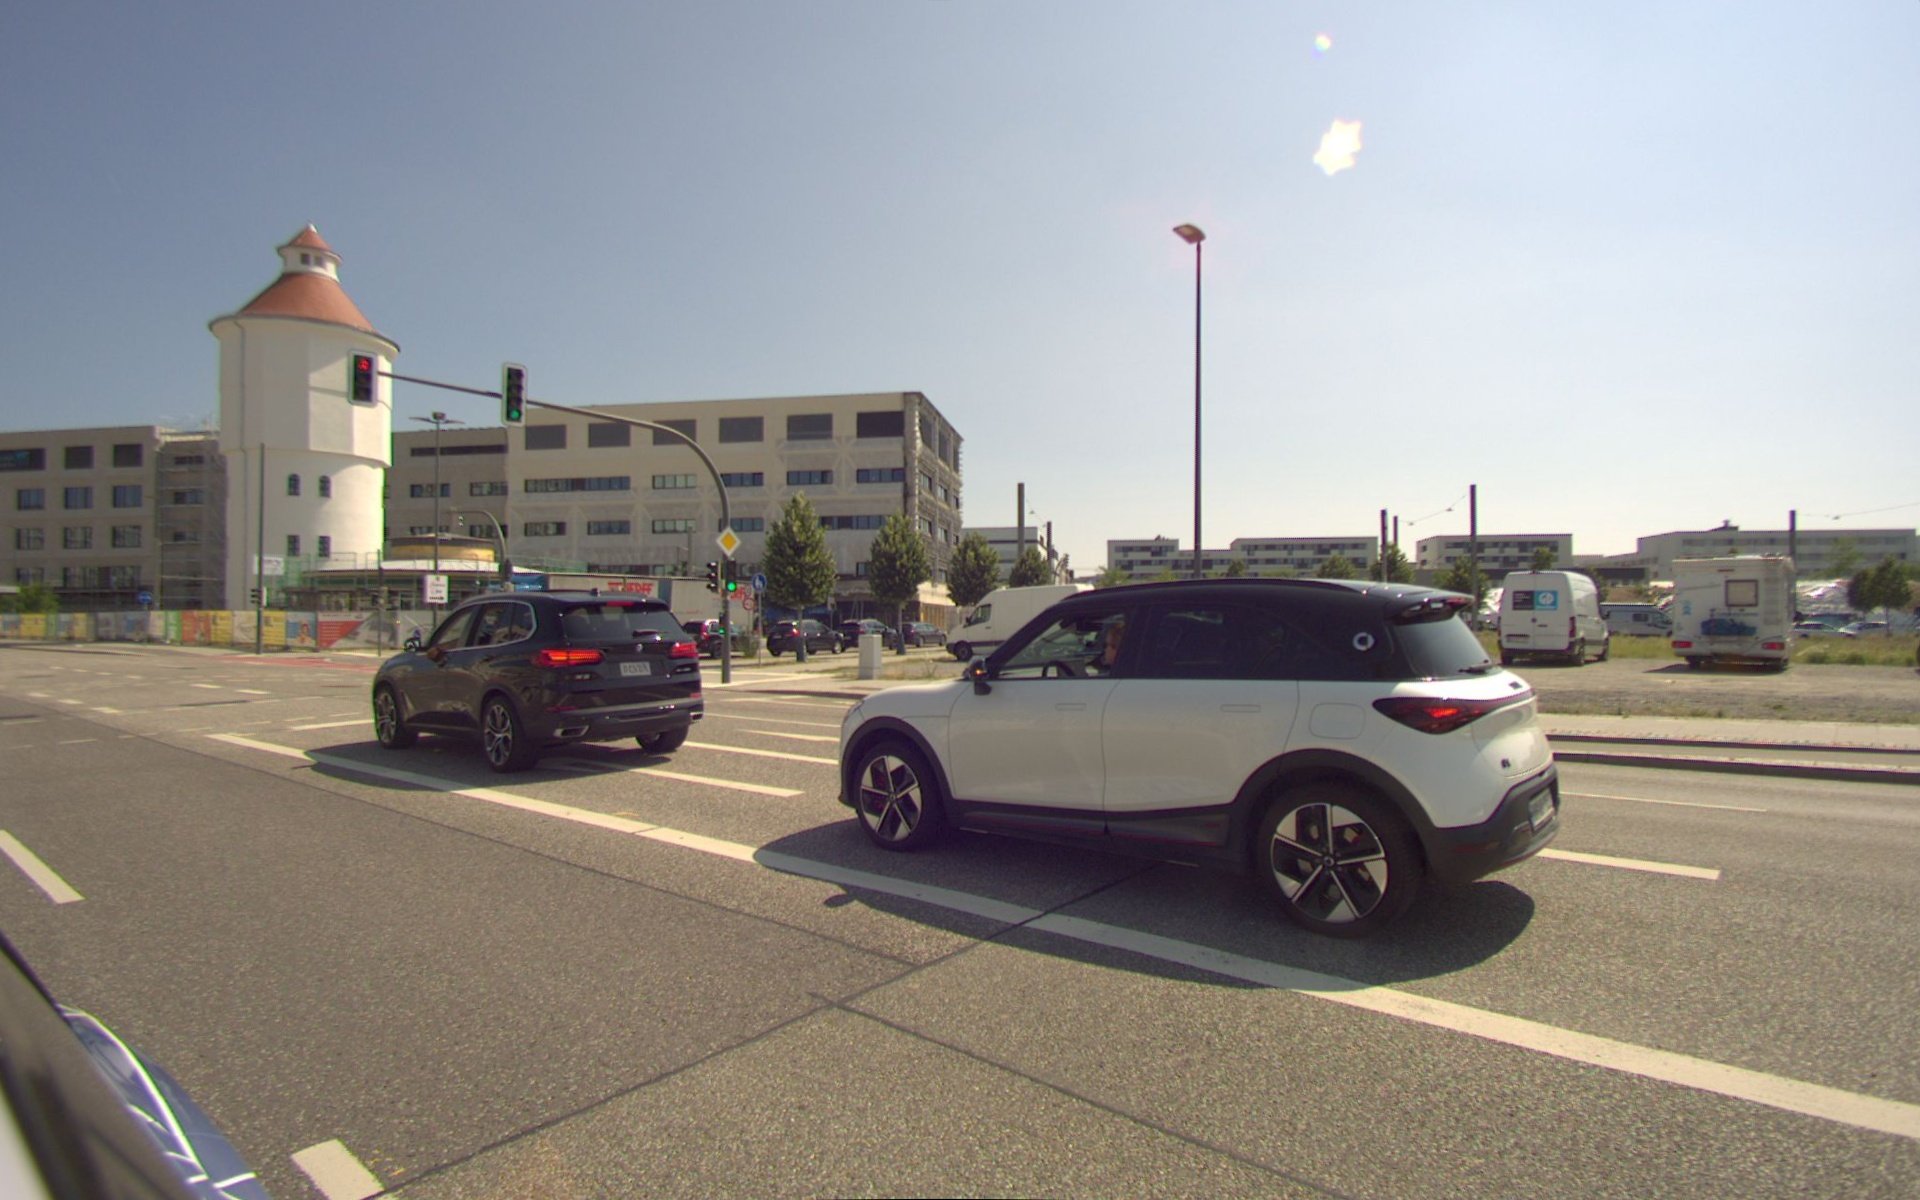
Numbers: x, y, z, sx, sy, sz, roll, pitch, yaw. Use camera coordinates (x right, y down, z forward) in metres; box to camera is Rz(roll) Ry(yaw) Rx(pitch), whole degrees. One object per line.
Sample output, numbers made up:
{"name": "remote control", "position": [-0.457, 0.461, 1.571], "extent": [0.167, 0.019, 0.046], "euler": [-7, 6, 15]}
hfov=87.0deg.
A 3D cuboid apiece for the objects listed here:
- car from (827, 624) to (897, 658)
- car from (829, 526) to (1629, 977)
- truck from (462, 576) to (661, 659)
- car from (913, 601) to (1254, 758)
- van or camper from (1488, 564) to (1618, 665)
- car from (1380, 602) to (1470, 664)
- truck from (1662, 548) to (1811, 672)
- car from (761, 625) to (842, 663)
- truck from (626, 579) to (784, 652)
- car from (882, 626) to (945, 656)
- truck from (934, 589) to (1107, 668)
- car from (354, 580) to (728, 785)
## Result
{"name": "car", "position": [-5.070, 2.128, 53.020], "extent": [1.871, 1.652, 3.964], "euler": [-1, -1, 26]}
{"name": "car", "position": [1.277, 0.649, 5.833], "extent": [4.096, 1.695, 1.760], "euler": [-2, -3, 40]}
{"name": "truck", "position": [-21.429, 0.808, 55.444], "extent": [3.283, 4.098, 10.889], "euler": [0, 1, 25]}
{"name": "car", "position": [1.511, 0.942, 13.164], "extent": [3.998, 1.719, 1.973], "euler": [-2, -3, 41]}
{"name": "van or camper", "position": [17.333, 0.405, 29.462], "extent": [2.259, 2.682, 4.847], "euler": [-2, -1, 42]}
{"name": "car", "position": [14.625, 0.994, 31.742], "extent": [1.655, 1.771, 3.828], "euler": [-2, -1, 39]}
{"name": "truck", "position": [20.794, 0.164, 26.961], "extent": [2.571, 2.923, 6.078], "euler": [0, 1, 43]}
{"name": "car", "position": [-7.497, 2.073, 48.139], "extent": [1.871, 1.652, 3.964], "euler": [-1, -1, 26]}
{"name": "truck", "position": [-16.139, 0.824, 65.271], "extent": [3.332, 4.307, 10.838], "euler": [0, 1, 30]}
{"name": "car", "position": [-2.638, 2.325, 58.160], "extent": [1.871, 1.542, 3.866], "euler": [-4, -2, 27]}
{"name": "truck", "position": [2.165, 1.020, 36.645], "extent": [5.917, 2.675, 2.153], "euler": [-1, -2, 28]}
{"name": "car", "position": [-4.777, 0.785, 11.180], "extent": [4.653, 1.802, 1.919], "euler": [-2, -1, 41]}
